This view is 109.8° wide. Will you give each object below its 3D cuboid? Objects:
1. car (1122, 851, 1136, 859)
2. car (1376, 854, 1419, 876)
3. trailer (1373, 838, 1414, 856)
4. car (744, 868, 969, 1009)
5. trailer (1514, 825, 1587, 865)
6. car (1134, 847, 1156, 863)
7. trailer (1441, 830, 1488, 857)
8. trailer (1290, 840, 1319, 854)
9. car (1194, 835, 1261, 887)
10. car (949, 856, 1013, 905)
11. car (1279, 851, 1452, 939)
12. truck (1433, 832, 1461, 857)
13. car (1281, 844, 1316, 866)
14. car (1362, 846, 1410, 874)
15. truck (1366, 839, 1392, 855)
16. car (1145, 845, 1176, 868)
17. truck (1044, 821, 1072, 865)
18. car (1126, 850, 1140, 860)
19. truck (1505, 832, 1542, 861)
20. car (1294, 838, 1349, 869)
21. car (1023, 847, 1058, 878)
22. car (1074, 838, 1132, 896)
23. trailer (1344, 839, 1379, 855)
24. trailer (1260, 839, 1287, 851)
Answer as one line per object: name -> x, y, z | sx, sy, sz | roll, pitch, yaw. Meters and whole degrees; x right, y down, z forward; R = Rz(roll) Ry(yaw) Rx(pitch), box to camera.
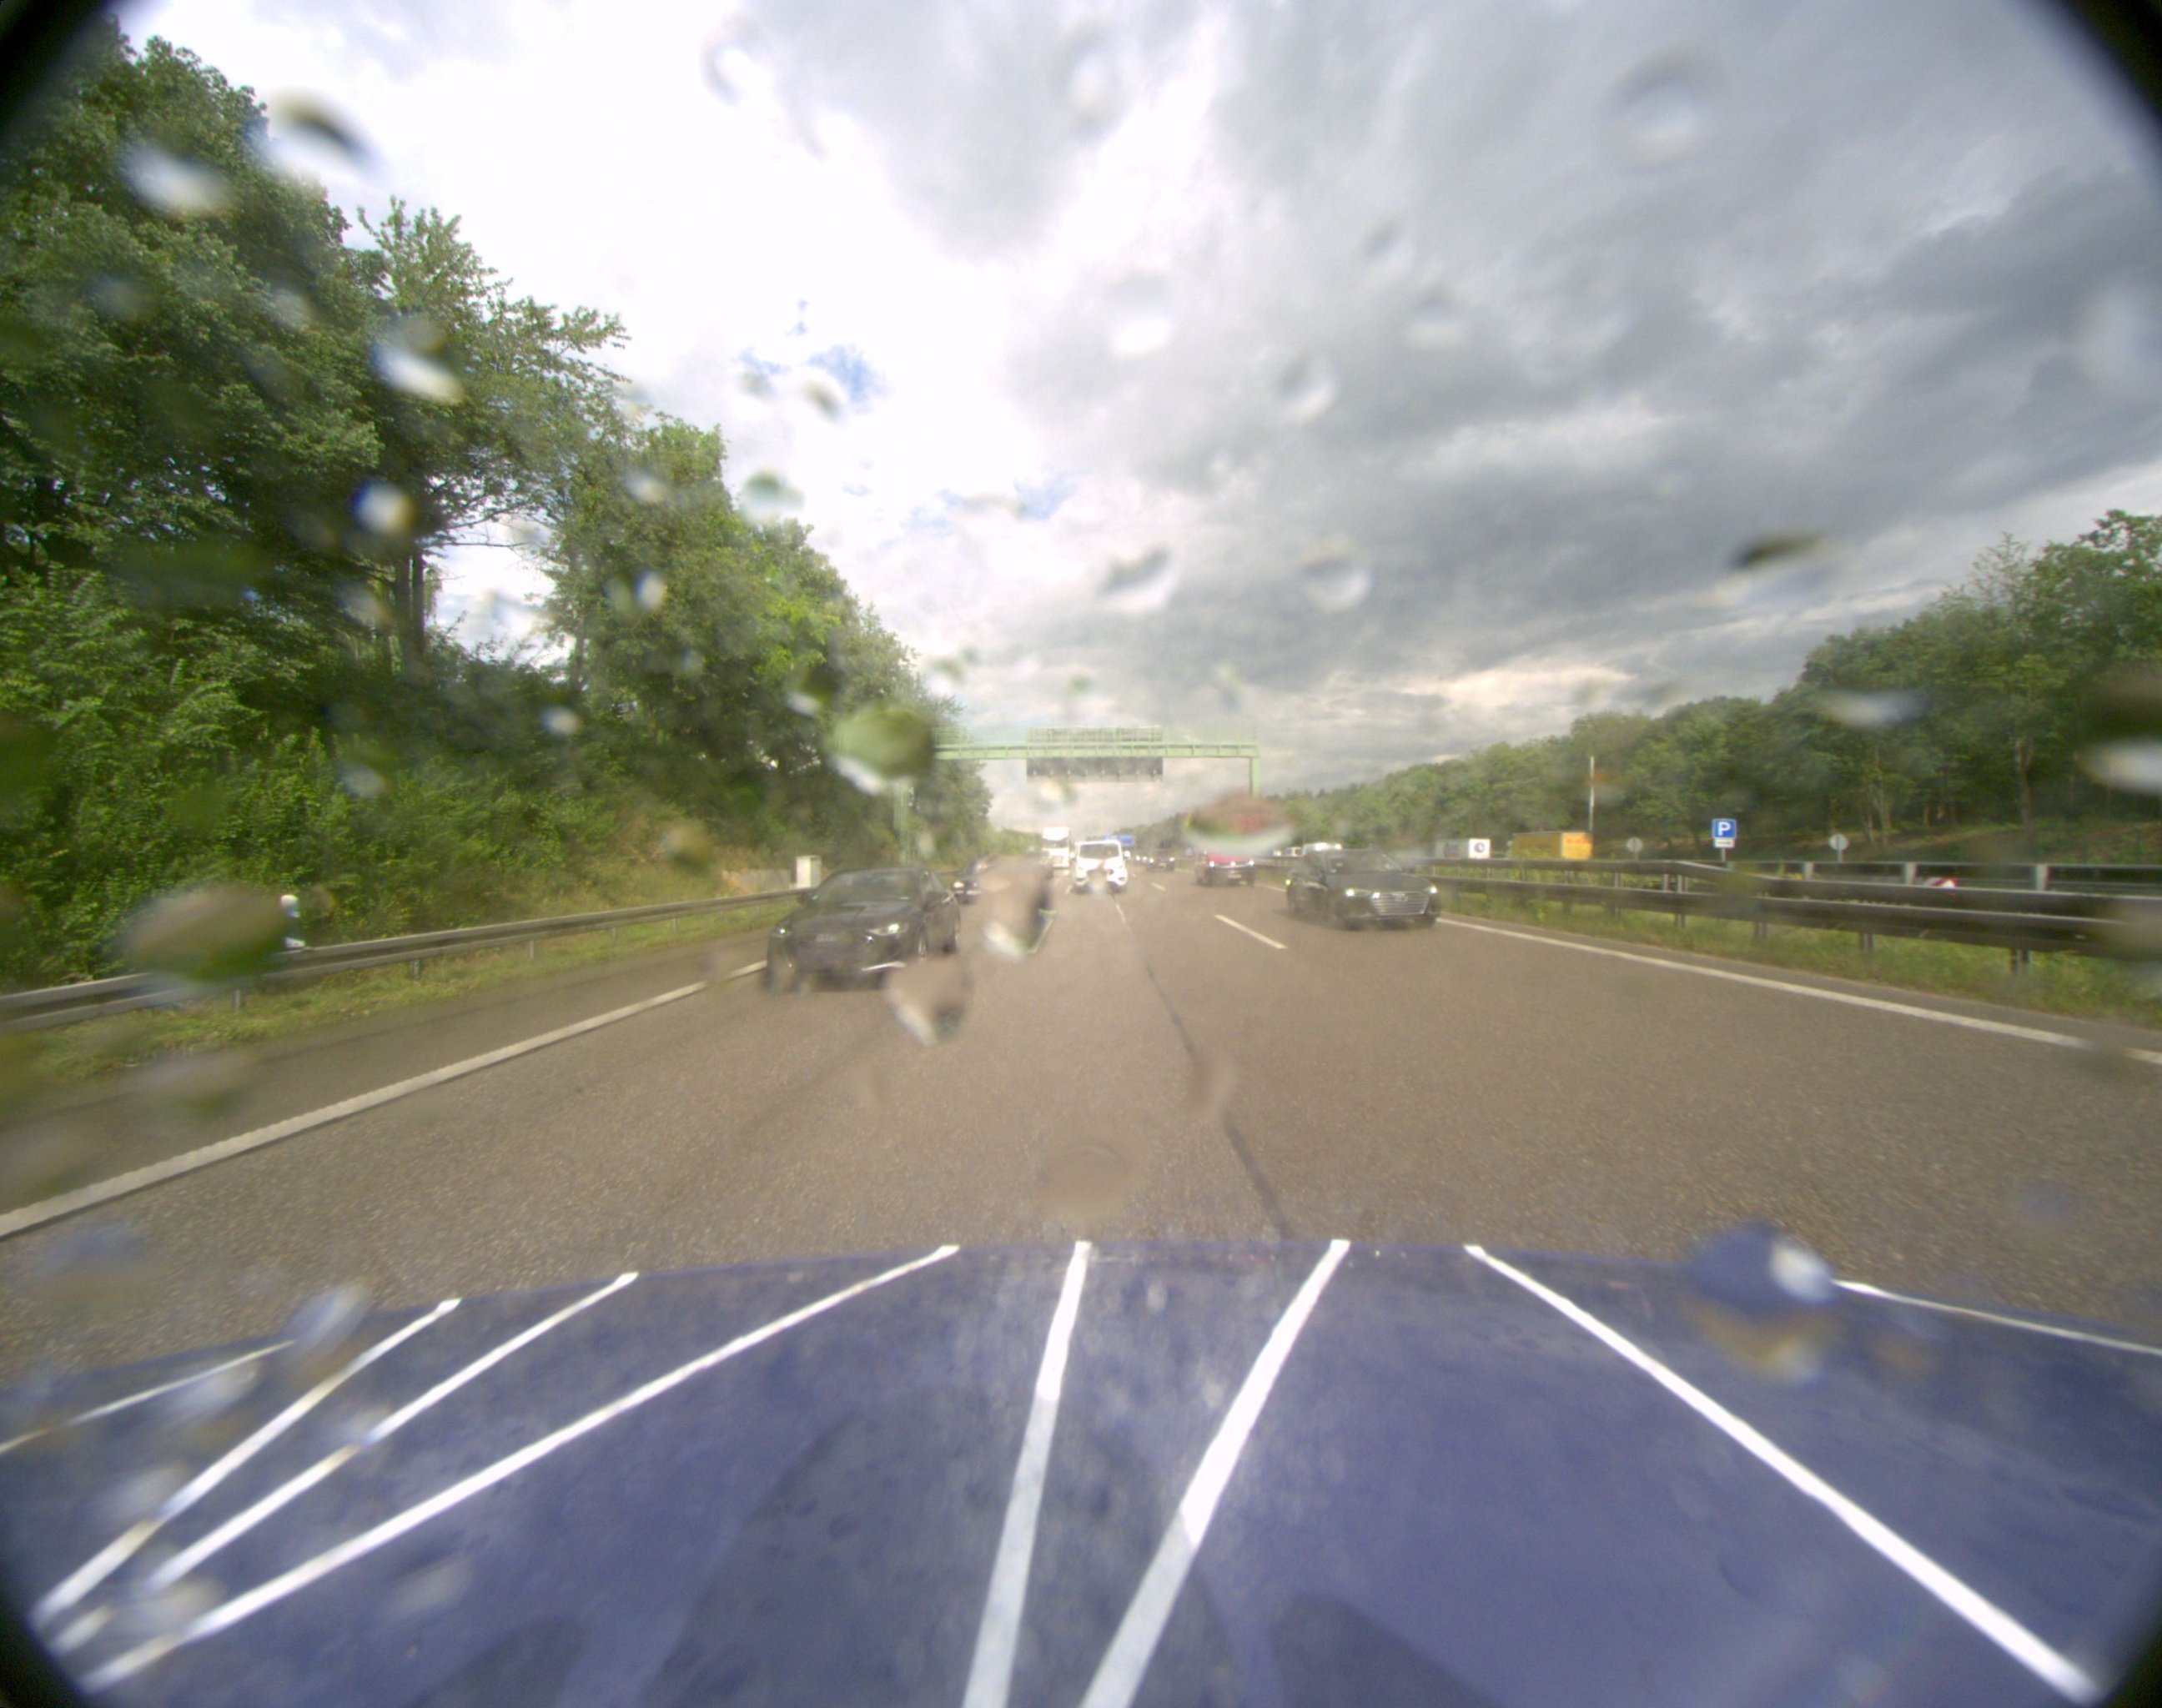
car -> 7.402, 0.166, 117.596 | 1.888, 1.228, 4.506 | -2, 0, 0
car -> 23.053, 0.793, 55.500 | 1.635, 1.473, 3.786 | -1, 0, 1
trailer -> 57.265, -1.268, 139.520 | 3.026, 3.174, 12.175 | 0, 1, 2
car -> -2.808, 0.979, 10.612 | 1.759, 1.388, 4.368 | -2, 1, 1
trailer -> 47.459, -0.985, 77.353 | 1.996, 3.673, 13.669 | -2, 1, 13
car -> 6.738, 0.088, 80.238 | 1.895, 1.558, 4.053 | -2, 1, 0
trailer -> 53.464, -1.387, 106.272 | 2.186, 3.579, 11.725 | 0, 1, 8
trailer -> 56.662, -1.778, 192.960 | 3.193, 3.253, 12.644 | 0, 1, -2
car -> 6.053, 0.250, 31.981 | 1.895, 1.973, 4.750 | -2, 0, 0
car -> -3.295, 0.831, 25.573 | 1.655, 1.448, 3.744 | -2, 1, -1
car -> 5.342, 0.675, 14.925 | 1.723, 1.403, 4.467 | -2, 1, 1
truck -> 54.478, -1.439, 113.339 | 2.167, 3.599, 5.581 | 0, 1, 8
car -> 19.317, 0.093, 67.658 | 1.929, 1.900, 4.288 | -1, 1, 1
car -> 23.377, 0.438, 58.413 | 1.998, 2.002, 4.000 | -3, 1, 1
truck -> 57.574, -1.328, 146.916 | 3.049, 3.165, 5.597 | 0, 1, 2
car -> 5.948, 0.144, 57.516 | 1.895, 1.660, 4.294 | -2, 1, 0
truck -> -2.225, -1.055, 75.132 | 2.460, 4.080, 5.332 | -2, 0, 1
car -> 7.123, 0.095, 105.000 | 1.675, 1.228, 4.000 | -2, 0, 0
truck -> 49.071, -0.851, 84.338 | 1.979, 3.080, 5.080 | -2, 1, 13
car -> 15.552, -0.035, 49.420 | 1.999, 1.823, 4.618 | -3, 0, 0
car -> -2.501, 0.464, 47.892 | 1.831, 1.793, 5.305 | -1, 1, 1
car -> 0.794, 0.437, 29.199 | 1.985, 1.973, 5.168 | -2, 0, 0
trailer -> 58.235, -1.512, 158.111 | 2.611, 3.253, 12.647 | 0, 1, 0
trailer -> 54.987, -2.593, 217.592 | 3.085, 3.253, 13.400 | 0, 1, -6
